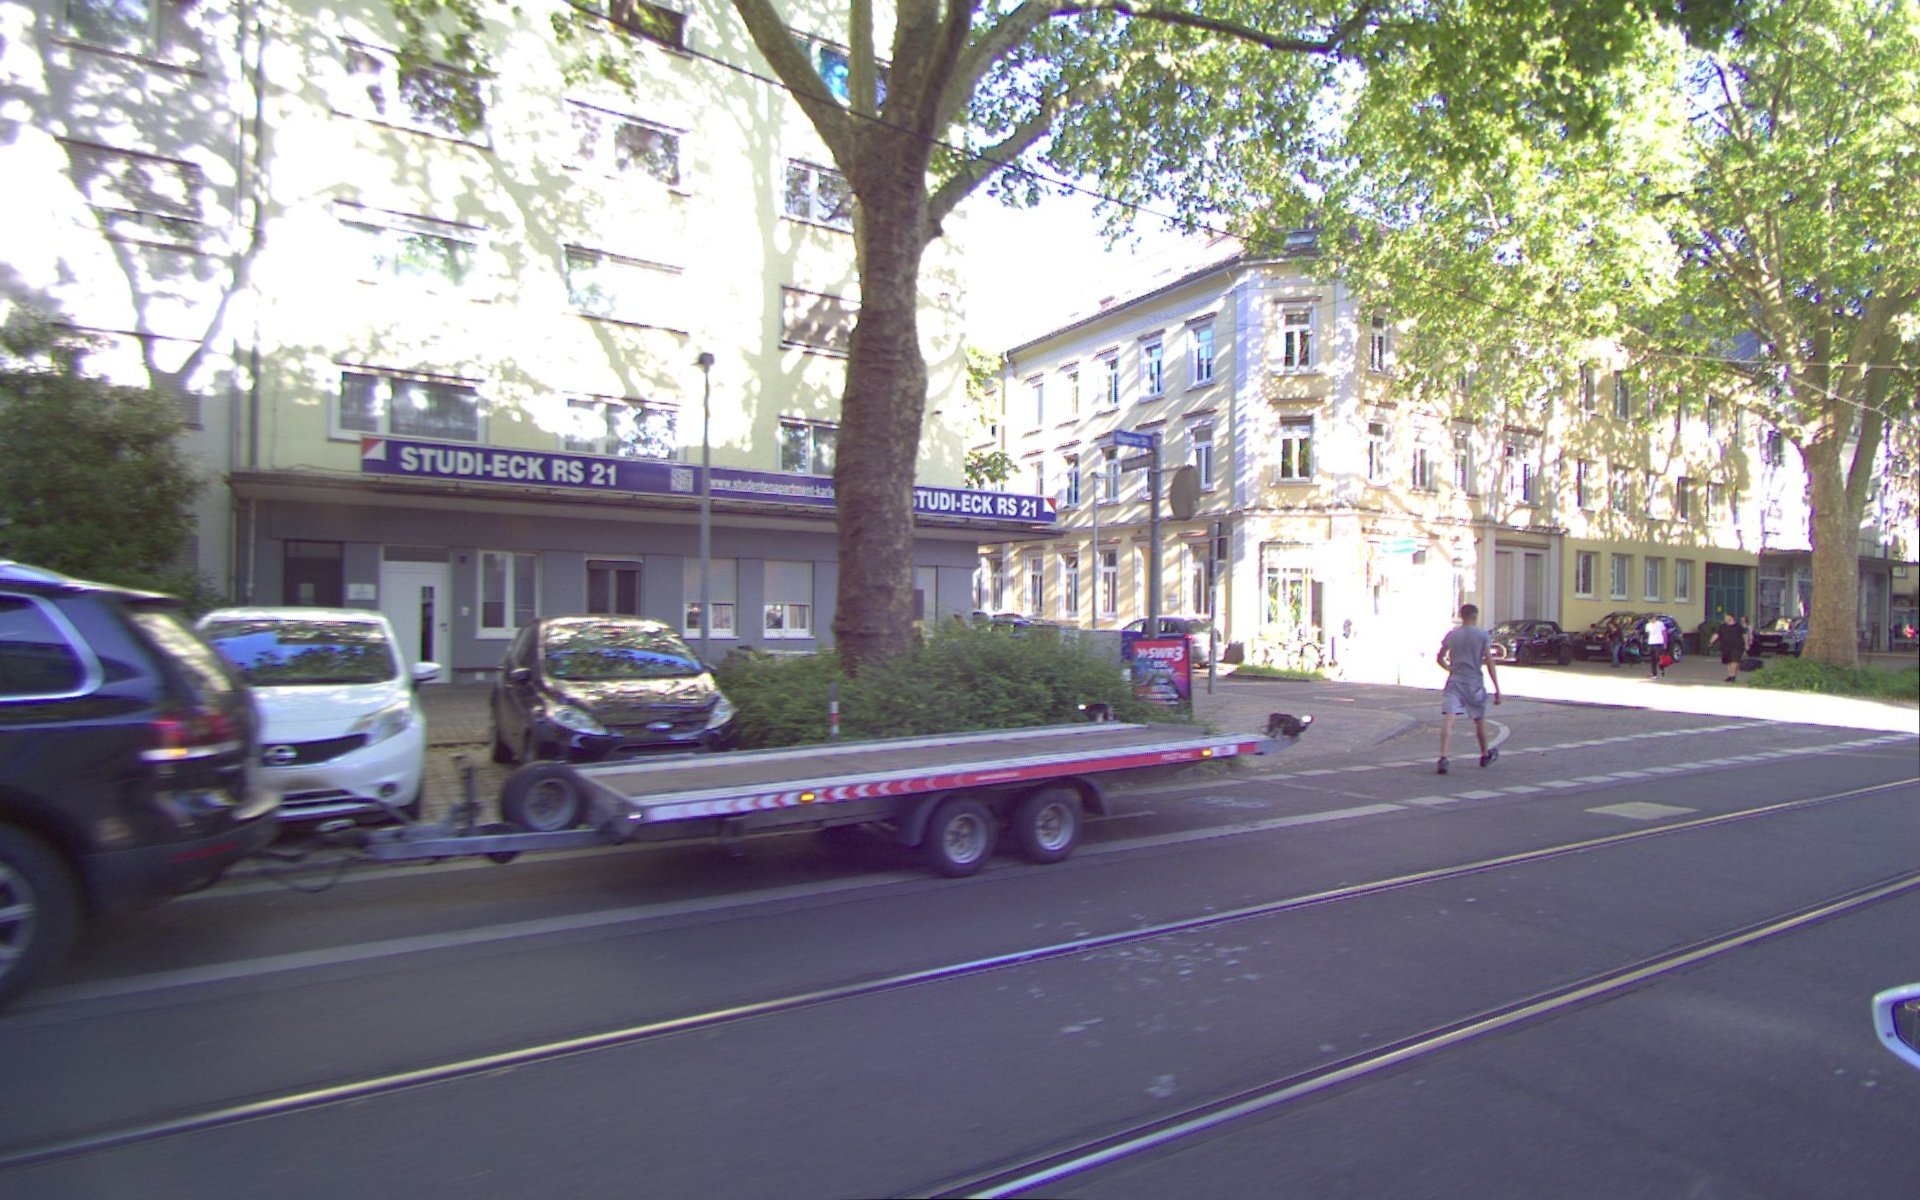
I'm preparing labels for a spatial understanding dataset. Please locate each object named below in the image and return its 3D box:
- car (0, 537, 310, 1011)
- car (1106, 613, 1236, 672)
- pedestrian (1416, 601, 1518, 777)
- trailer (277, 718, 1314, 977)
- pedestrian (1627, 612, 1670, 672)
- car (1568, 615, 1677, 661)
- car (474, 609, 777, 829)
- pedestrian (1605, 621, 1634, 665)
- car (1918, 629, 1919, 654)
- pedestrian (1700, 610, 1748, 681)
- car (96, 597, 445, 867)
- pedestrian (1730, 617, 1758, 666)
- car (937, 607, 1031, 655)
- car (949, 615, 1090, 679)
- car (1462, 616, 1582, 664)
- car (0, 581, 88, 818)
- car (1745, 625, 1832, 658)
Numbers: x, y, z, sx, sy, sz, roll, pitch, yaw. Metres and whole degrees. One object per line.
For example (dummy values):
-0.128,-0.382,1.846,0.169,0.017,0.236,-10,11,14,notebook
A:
-5.175,0.648,3.810,4.433,1.722,1.984,1,-3,-31,car
6.366,1.230,30.657,1.976,1.606,3.631,-2,1,-29,car
5.381,0.908,10.655,0.907,1.758,0.704,1,-2,-45,pedestrian
-0.623,1.302,6.652,6.329,0.640,2.150,1,-3,-32,trailer
19.383,1.179,28.284,0.638,1.654,0.840,1,-1,-36,pedestrian
23.789,1.352,36.038,3.953,1.537,1.673,1,0,-30,car
-3.145,0.867,9.025,1.768,1.551,3.410,1,-1,-33,car
21.540,1.390,32.817,0.641,1.421,0.550,1,-1,-27,pedestrian
68.743,2.895,69.041,1.981,1.728,3.959,1,-1,-36,car
20.579,1.211,27.065,0.638,1.894,0.899,1,-1,-36,pedestrian
-5.199,0.777,7.894,1.751,1.542,3.966,1,-1,-31,car
27.082,1.433,34.717,0.641,1.674,0.550,1,-1,-27,pedestrian
0.891,1.195,39.743,1.864,1.793,3.966,1,-1,-31,car
1.522,1.203,27.078,1.802,1.555,3.963,1,-1,-34,car
18.417,1.291,32.862,3.953,1.483,1.674,1,-1,-30,car
-7.873,0.686,7.128,1.873,1.669,3.966,1,-1,-31,car
35.035,1.737,42.468,3.784,1.293,1.687,1,-1,-31,car
